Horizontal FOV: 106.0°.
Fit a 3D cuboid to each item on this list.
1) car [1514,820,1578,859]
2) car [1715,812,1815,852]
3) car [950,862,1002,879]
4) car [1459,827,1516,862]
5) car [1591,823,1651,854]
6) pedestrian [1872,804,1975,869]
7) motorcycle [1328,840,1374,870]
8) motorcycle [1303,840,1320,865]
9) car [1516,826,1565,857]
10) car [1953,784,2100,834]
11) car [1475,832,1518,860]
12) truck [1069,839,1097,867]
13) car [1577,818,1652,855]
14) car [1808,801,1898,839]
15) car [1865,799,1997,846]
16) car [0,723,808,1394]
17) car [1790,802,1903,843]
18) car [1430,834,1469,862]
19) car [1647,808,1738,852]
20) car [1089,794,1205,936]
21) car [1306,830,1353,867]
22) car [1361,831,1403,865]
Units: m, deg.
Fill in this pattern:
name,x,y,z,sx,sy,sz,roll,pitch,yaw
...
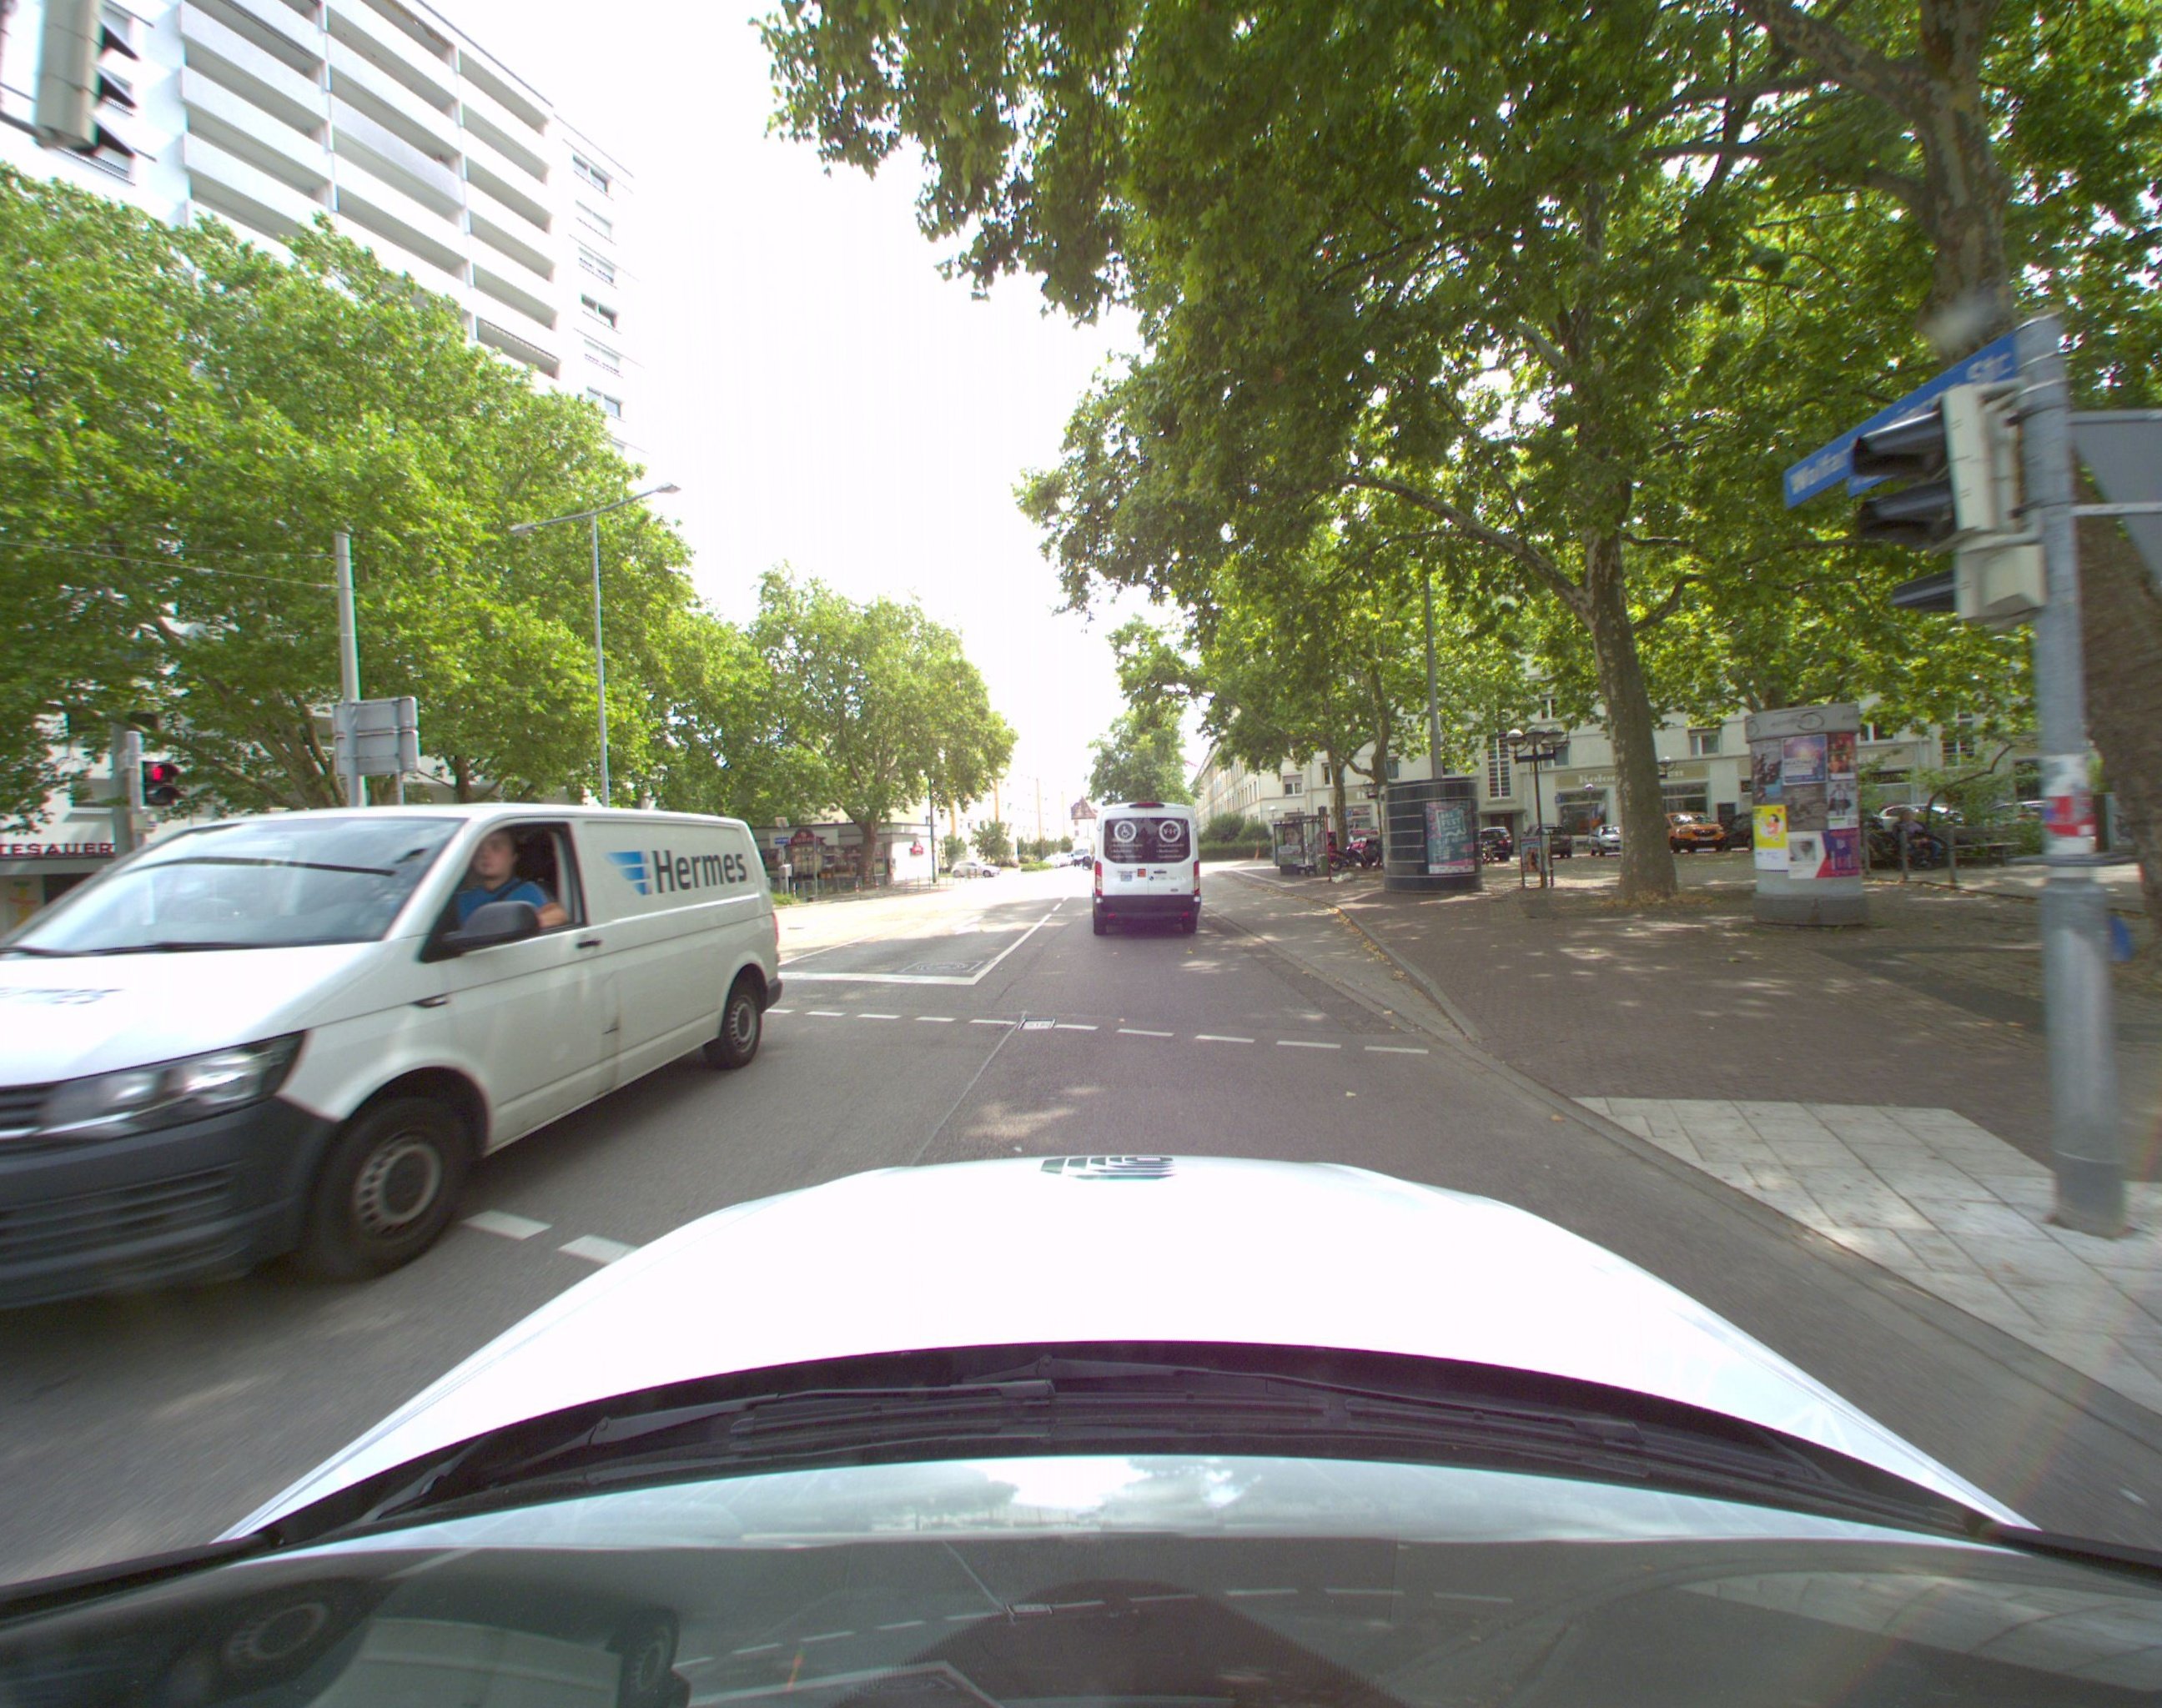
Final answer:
name,x,y,z,sx,sy,sz,roll,pitch,yaw
car,21.553,-0.654,37.885,1.976,1.599,4.021,-4,0,22
car,28.602,-0.895,34.206,1.976,1.464,4.021,-4,0,22
car,-9.173,1.419,71.249,4.150,1.451,1.852,-1,-1,6
car,18.993,-0.459,38.246,1.976,1.464,4.021,-4,0,22
car,30.546,-0.863,46.183,1.976,1.591,4.218,-3,0,23
pedestrian,17.139,-0.353,16.616,1.085,1.213,1.147,-4,-1,26
motorcycle,12.175,0.033,36.779,1.849,1.222,0.530,-3,1,-2
motorcycle,14.919,-0.116,52.743,0.826,1.461,2.314,-3,1,13
car,26.286,-0.714,46.673,1.975,1.591,4.219,-3,0,24
car,35.576,-1.637,30.813,1.976,1.640,4.022,-3,0,23
car,24.377,-0.498,47.871,1.975,1.487,4.219,-3,0,24
truck,0.306,-0.153,98.684,2.529,3.107,7.029,-5,0,5
car,24.060,-0.765,36.879,1.976,1.464,4.021,-4,0,22
car,38.880,-1.666,41.142,1.976,1.728,4.022,-3,0,23
car,33.544,-1.217,32.310,1.976,1.618,4.227,-4,0,22
car,-3.500,0.606,4.853,1.917,1.936,4.948,-2,0,1
car,31.187,-1.240,33.356,1.976,1.464,4.021,-4,0,22
car,22.106,-0.399,48.877,1.975,1.504,4.219,-3,0,24
car,26.724,-1.022,35.784,1.976,1.695,4.584,-4,0,22
car,1.357,0.206,17.048,2.061,2.540,4.639,-1,0,4
car,12.856,-0.323,41.960,1.916,1.706,4.353,-3,0,21
car,15.412,-0.300,41.575,1.811,1.552,4.021,-4,0,22
